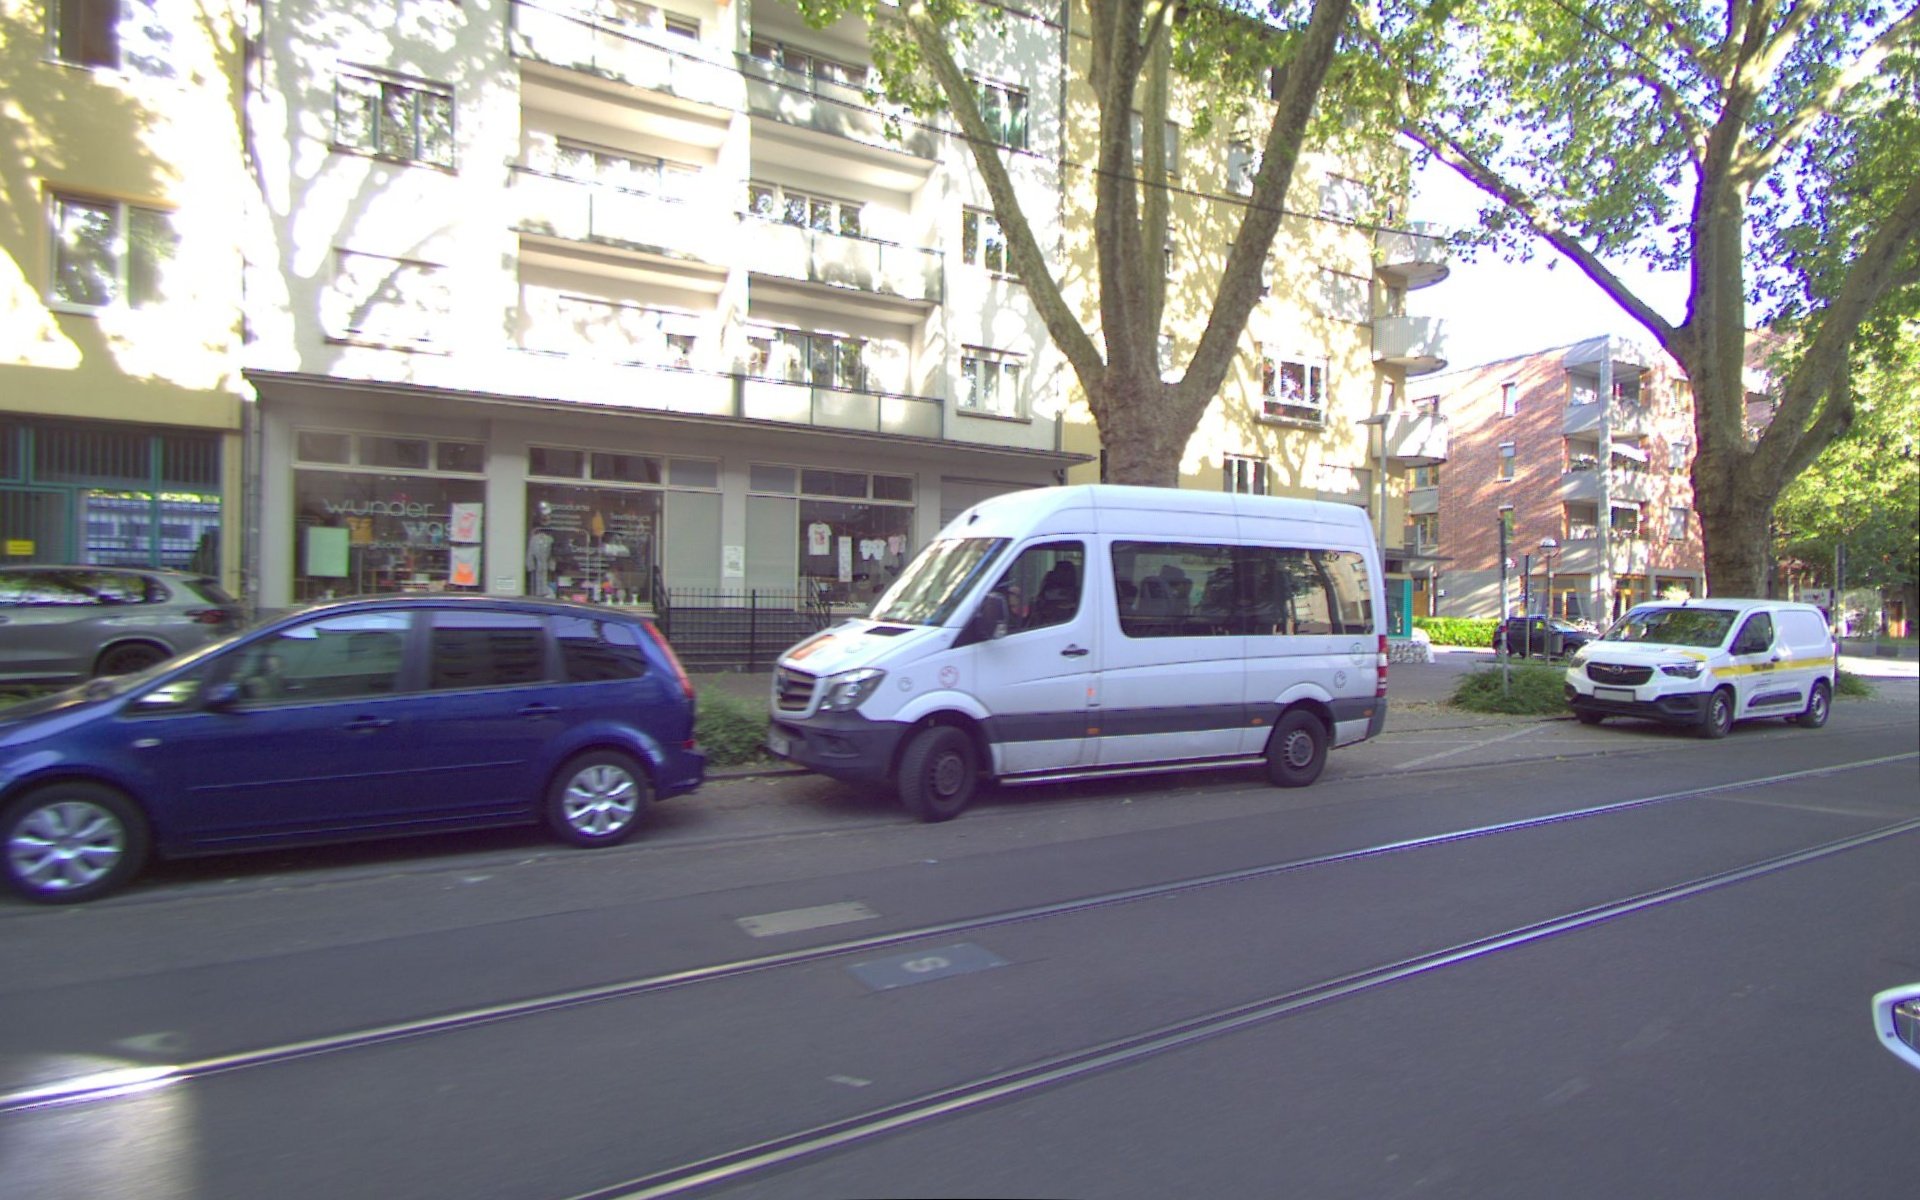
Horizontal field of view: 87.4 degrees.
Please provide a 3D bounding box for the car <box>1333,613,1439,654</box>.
[{"bbox_3d":[18.648,1.448,44.101,1.936,1.684,3.970,1,-1,-28],"label":"car"}]

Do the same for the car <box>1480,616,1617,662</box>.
[{"bbox_3d":[21.852,1.421,37.427,1.975,1.528,3.970,1,0,-28],"label":"car"}]

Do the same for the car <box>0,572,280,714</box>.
[{"bbox_3d":[-12.161,0.530,13.418,4.836,1.756,1.986,1,0,-28],"label":"car"}]

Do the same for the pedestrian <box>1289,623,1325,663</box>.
[{"bbox_3d":[9.284,1.145,26.889,0.702,1.061,0.576,1,0,-29],"label":"pedestrian"}]

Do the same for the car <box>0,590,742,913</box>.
[{"bbox_3d":[-3.780,0.781,6.567,4.232,1.582,1.908,1,0,-29],"label":"car"}]

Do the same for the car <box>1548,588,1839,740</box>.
[{"bbox_3d":[10.441,0.829,14.237,4.267,1.875,1.755,1,0,-30],"label":"car"}]

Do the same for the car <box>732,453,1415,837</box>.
[{"bbox_3d":[1.152,0.365,9.100,5.944,2.612,2.101,1,0,-26],"label":"car"}]

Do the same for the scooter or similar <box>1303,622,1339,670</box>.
[{"bbox_3d":[9.293,1.177,25.850,0.662,1.182,0.644,1,0,-1],"label":"scooter or similar"}]
